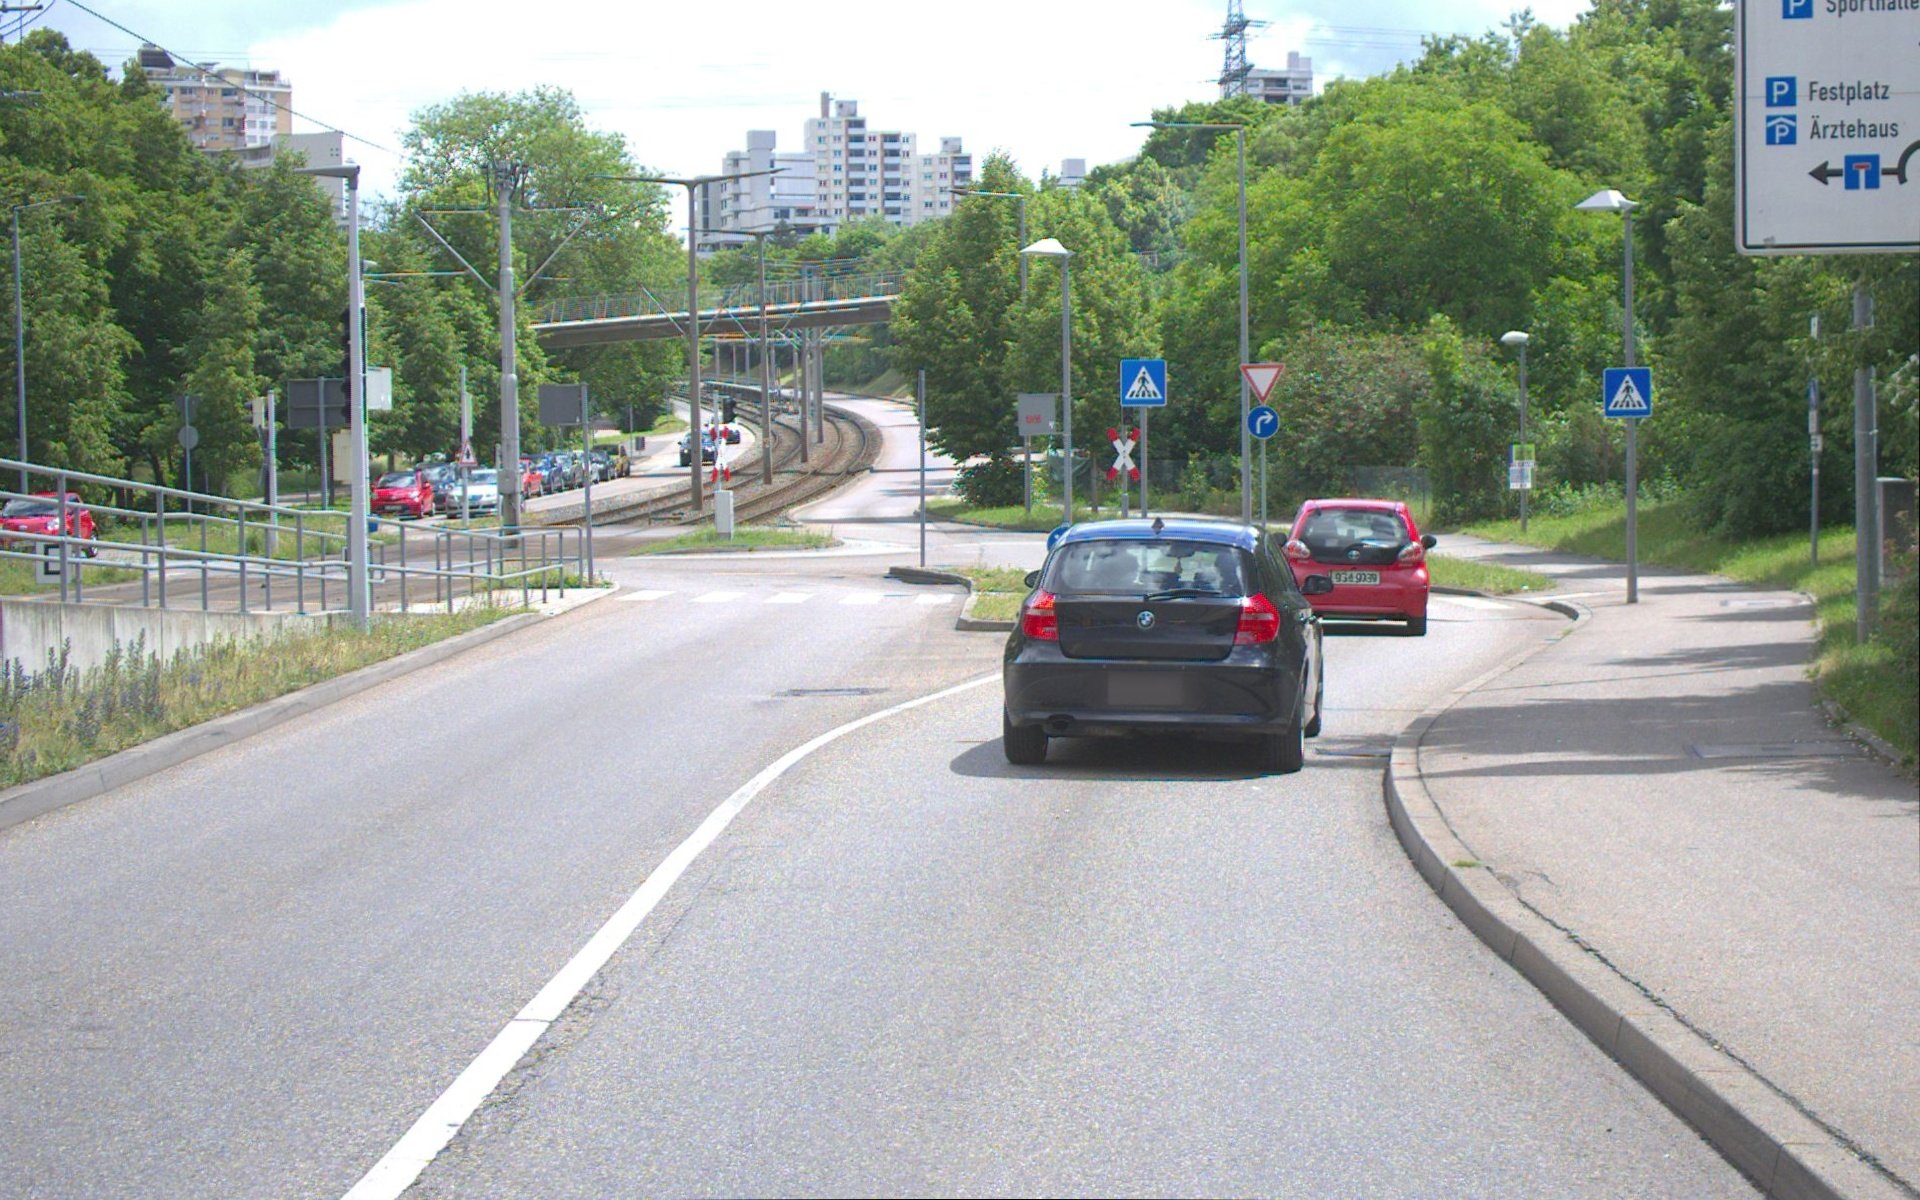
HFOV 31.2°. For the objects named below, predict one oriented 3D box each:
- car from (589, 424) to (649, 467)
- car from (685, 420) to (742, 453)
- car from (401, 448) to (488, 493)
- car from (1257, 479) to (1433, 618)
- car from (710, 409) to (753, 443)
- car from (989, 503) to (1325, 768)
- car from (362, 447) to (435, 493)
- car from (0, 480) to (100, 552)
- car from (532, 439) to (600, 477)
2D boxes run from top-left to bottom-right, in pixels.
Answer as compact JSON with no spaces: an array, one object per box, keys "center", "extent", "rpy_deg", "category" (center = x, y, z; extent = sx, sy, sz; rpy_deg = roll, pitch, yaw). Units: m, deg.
[{"center":[-15.196,-6.901,153.342],"extent":[1.994,1.856,4.000],"rpy_deg":[0,3,5],"category":"car"},{"center":[-12.166,-8.094,169.817],"extent":[1.994,1.591,4.419],"rpy_deg":[0,3,7],"category":"car"},{"center":[-16.693,-4.212,111.496],"extent":[1.880,1.420,3.531],"rpy_deg":[0,3,7],"category":"car"},{"center":[4.176,-0.596,37.712],"extent":[1.766,1.427,3.478],"rpy_deg":[-1,2,4],"category":"car"},{"center":[-13.623,-10.350,204.518],"extent":[1.993,2.006,4.002],"rpy_deg":[-1,3,-12],"category":"car"},{"center":[1.244,0.148,20.829],"extent":[1.815,1.416,4.000],"rpy_deg":[-1,1,5],"category":"car"},{"center":[-17.175,-3.981,105.230],"extent":[1.528,1.365,3.597],"rpy_deg":[0,3,2],"category":"car"},{"center":[-20.081,-1.844,75.021],"extent":[1.719,1.497,2.967],"rpy_deg":[0,3,4],"category":"car"},{"center":[-15.748,-5.712,137.592],"extent":[1.994,1.468,4.000],"rpy_deg":[0,3,4],"category":"car"}]
